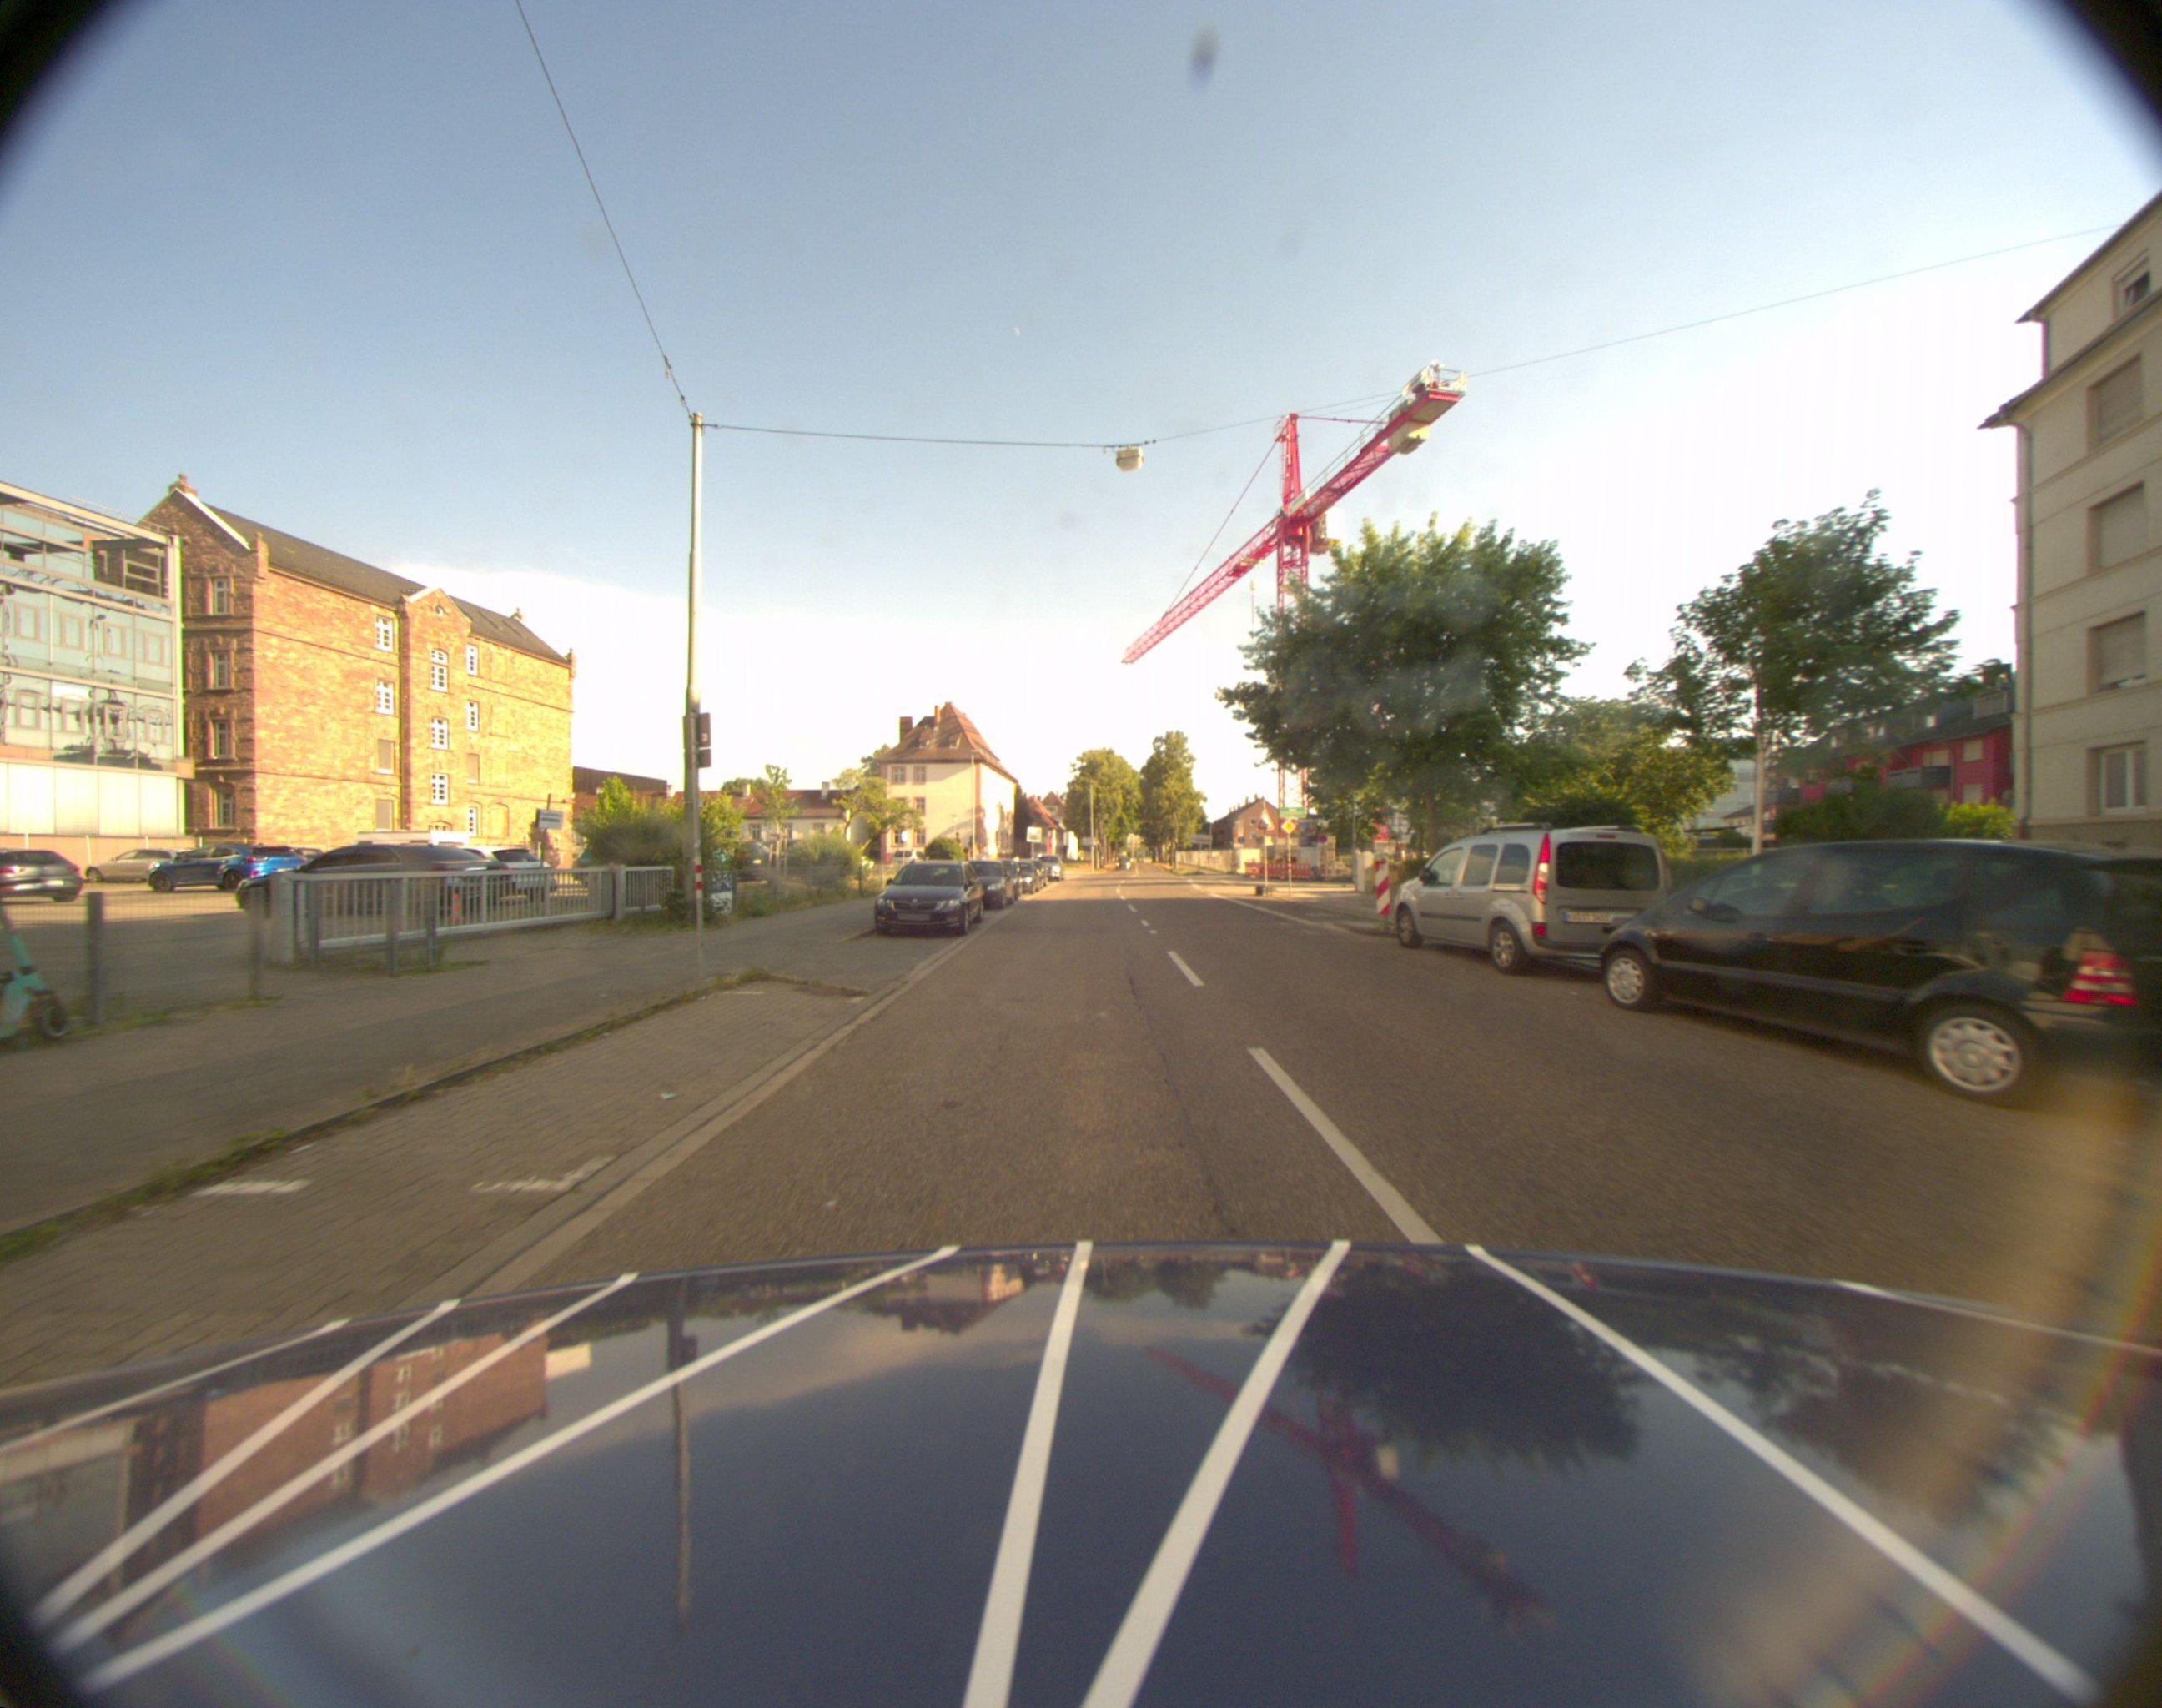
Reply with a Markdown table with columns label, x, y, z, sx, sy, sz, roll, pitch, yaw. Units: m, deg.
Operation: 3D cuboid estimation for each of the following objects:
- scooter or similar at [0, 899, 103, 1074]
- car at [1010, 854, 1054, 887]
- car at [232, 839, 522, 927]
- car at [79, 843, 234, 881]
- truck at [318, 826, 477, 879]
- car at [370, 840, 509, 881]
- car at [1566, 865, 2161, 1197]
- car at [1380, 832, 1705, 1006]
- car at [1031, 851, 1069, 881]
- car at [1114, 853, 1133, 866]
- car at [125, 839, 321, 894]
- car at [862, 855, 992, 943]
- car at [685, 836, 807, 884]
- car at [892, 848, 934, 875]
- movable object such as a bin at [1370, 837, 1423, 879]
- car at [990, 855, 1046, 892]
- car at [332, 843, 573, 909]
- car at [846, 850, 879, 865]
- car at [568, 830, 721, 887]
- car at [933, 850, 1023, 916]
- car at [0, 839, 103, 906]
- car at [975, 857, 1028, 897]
| label | x | y | z | sx | sy | sz | roll | pitch | yaw |
| --- | --- | --- | --- | --- | --- | --- | --- | --- | --- |
| scooter or similar | -7.783 | 0.957 | 5.245 | 0.334 | 1.185 | 1.240 | 7 | 1 | 1 |
| car | -2.546 | 0.826 | 40.234 | 1.746 | 1.532 | 4.440 | 2 | 1 | 3 |
| car | -14.295 | 0.549 | 15.574 | 4.487 | 1.592 | 1.733 | 2 | 1 | 3 |
| car | -38.240 | 0.319 | 31.480 | 4.487 | 1.447 | 1.733 | -1 | 1 | 3 |
| truck | -37.052 | -0.071 | 41.304 | 6.438 | 2.668 | 2.543 | -1 | 1 | 3 |
| car | -27.046 | 0.260 | 32.125 | 4.487 | 1.592 | 1.733 | -1 | 1 | 3 |
| car | 5.946 | 0.922 | 5.749 | 1.878 | 1.543 | 3.999 | 2 | 0 | -1 |
| car | 5.953 | 0.693 | 10.599 | 1.846 | 1.885 | 4.487 | 1 | 1 | 2 |
| car | -2.002 | 0.742 | 50.456 | 1.925 | 1.769 | 4.811 | 4 | 1 | 3 |
| car | 4.982 | 0.702 | 89.472 | 1.776 | 1.491 | 3.673 | 0 | -1 | -3 |
| car | -27.501 | 0.386 | 24.427 | 4.487 | 1.592 | 1.733 | -1 | 1 | 3 |
| car | -3.138 | 0.829 | 16.502 | 1.891 | 1.552 | 4.945 | 1 | 0 | -1 |
| car | -13.477 | 0.232 | 30.758 | 3.996 | 1.783 | 2.000 | -1 | 1 | 2 |
| car | -10.947 | 0.454 | 49.722 | 1.657 | 1.652 | 4.000 | -1 | 1 | 3 |
| movable object such as a bin | 40.654 | 0.389 | 98.558 | 4.093 | 5.034 | 12.233 | -1 | 1 | 12 |
| car | -2.763 | 0.818 | 34.521 | 1.906 | 1.520 | 4.811 | 0 | 1 | 3 |
| car | -15.169 | 0.513 | 18.473 | 4.487 | 1.447 | 1.733 | -1 | 1 | 3 |
| car | -22.132 | 0.335 | 77.047 | 1.998 | 1.444 | 4.000 | -1 | 1 | 3 |
| car | -14.786 | 0.143 | 25.888 | 3.997 | 1.783 | 2.000 | -1 | 1 | 1 |
| car | -3.099 | 0.805 | 23.903 | 1.906 | 1.768 | 4.582 | -3 | 0 | 3 |
| car | -27.873 | 0.478 | 19.121 | 4.487 | 1.592 | 1.733 | -1 | 1 | 3 |
| car | -3.023 | 0.905 | 29.517 | 1.655 | 1.427 | 3.960 | 1 | -2 | -1 |
